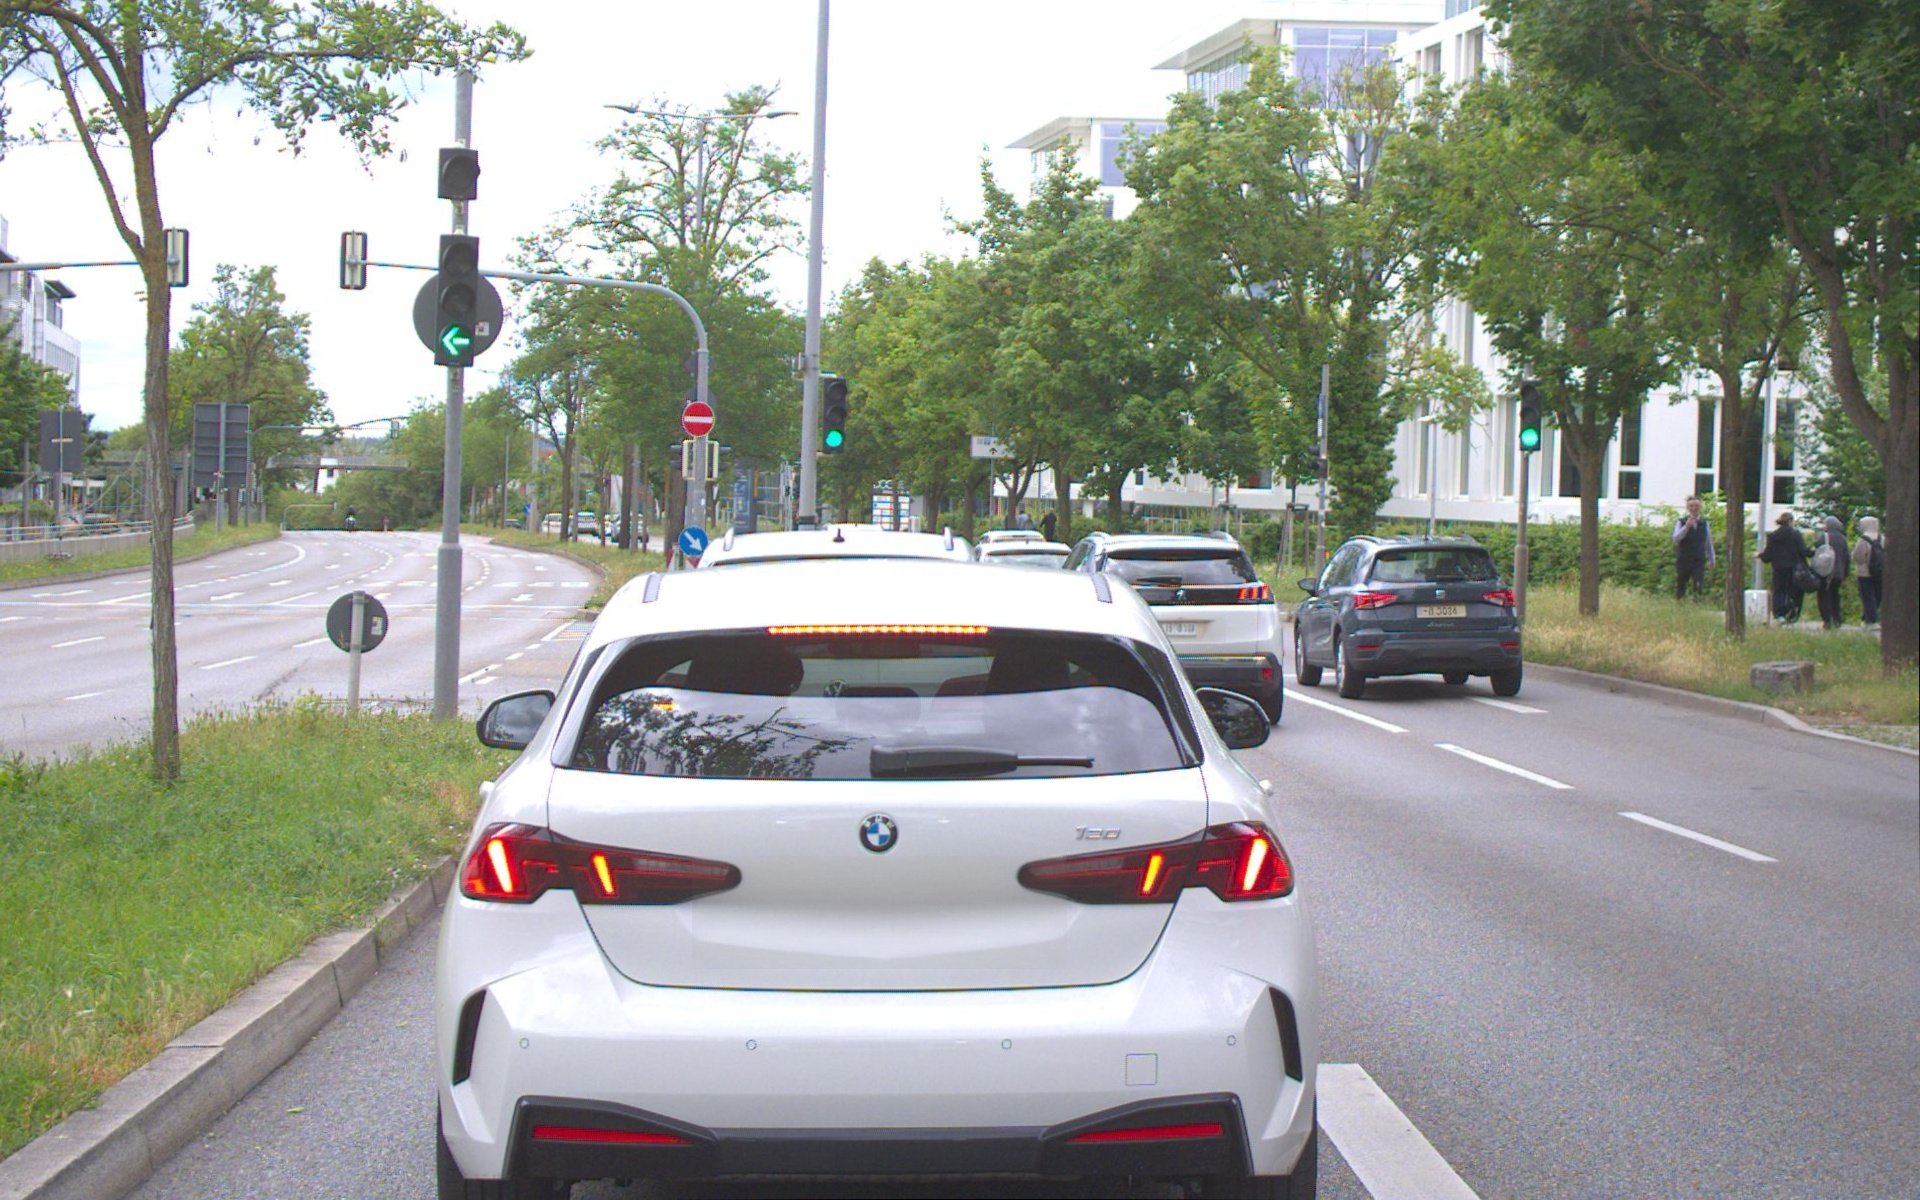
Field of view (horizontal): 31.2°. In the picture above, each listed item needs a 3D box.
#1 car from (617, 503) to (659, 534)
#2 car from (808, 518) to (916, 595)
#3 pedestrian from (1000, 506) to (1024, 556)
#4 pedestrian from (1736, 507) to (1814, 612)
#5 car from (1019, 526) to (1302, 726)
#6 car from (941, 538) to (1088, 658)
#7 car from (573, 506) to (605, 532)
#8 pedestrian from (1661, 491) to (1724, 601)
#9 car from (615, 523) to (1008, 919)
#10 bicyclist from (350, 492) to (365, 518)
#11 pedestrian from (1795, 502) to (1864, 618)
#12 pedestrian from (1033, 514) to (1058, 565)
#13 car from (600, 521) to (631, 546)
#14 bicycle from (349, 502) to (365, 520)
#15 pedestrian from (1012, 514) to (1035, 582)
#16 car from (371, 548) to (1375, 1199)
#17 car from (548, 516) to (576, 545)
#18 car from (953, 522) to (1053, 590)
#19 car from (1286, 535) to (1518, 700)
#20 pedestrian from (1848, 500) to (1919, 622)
[{"bbox_3d":[-17.747,-4.454,189.196,1.993,1.664,4.001,-1,1,-10],"label":"car"},{"bbox_3d":[-2.161,-0.967,74.926,1.891,1.590,4.315,1,1,-7],"label":"car"},{"bbox_3d":[2.115,-2.778,139.274,0.762,2.007,0.754,1,0,-15],"label":"pedestrian"},{"bbox_3d":[11.394,-0.563,48.079,0.789,1.443,1.112,1,0,-1],"label":"pedestrian"},{"bbox_3d":[1.643,0.169,29.637,1.854,1.590,4.314,0,1,-4],"label":"car"},{"bbox_3d":[0.675,-0.060,44.775,1.605,1.463,3.676,1,1,-4],"label":"car"},{"bbox_3d":[-25.701,-5.572,238.107,1.993,1.726,4.001,1,1,-10],"label":"car"},{"bbox_3d":[10.604,-0.779,49.774,0.741,1.568,0.674,1,0,-1],"label":"pedestrian"},{"bbox_3d":[-0.623,0.450,15.848,1.549,1.563,4.000,1,1,-1],"label":"car"},{"bbox_3d":[-38.041,-5.980,216.981,0.810,1.647,1.189,1,0,-14],"label":"bicyclist"},{"bbox_3d":[12.122,-0.552,47.937,0.699,1.590,0.883,1,0,-1],"label":"pedestrian"},{"bbox_3d":[3.405,-2.413,137.534,0.848,2.007,0.606,1,1,-10],"label":"pedestrian"},{"bbox_3d":[-21.482,-4.141,214.386,1.692,1.481,3.694,1,1,-9],"label":"car"},{"bbox_3d":[-38.038,-5.612,216.940,0.810,1.100,2.557,1,1,-14],"label":"bicycle"},{"bbox_3d":[2.463,-2.006,133.399,0.831,2.618,0.646,1,1,-1],"label":"pedestrian"},{"bbox_3d":[-0.185,0.620,8.330,1.822,1.433,4.000,1,1,-1],"label":"car"},{"bbox_3d":[-24.863,-4.339,214.561,1.695,1.711,4.001,1,1,-7],"label":"car"},{"bbox_3d":[0.908,-0.967,74.012,1.653,1.420,3.536,0,1,-8],"label":"car"},{"bbox_3d":[4.275,0.124,33.766,1.657,1.507,4.000,1,1,-1],"label":"car"},{"bbox_3d":[12.914,-0.541,47.974,0.767,1.679,0.883,1,0,-1],"label":"pedestrian"}]
